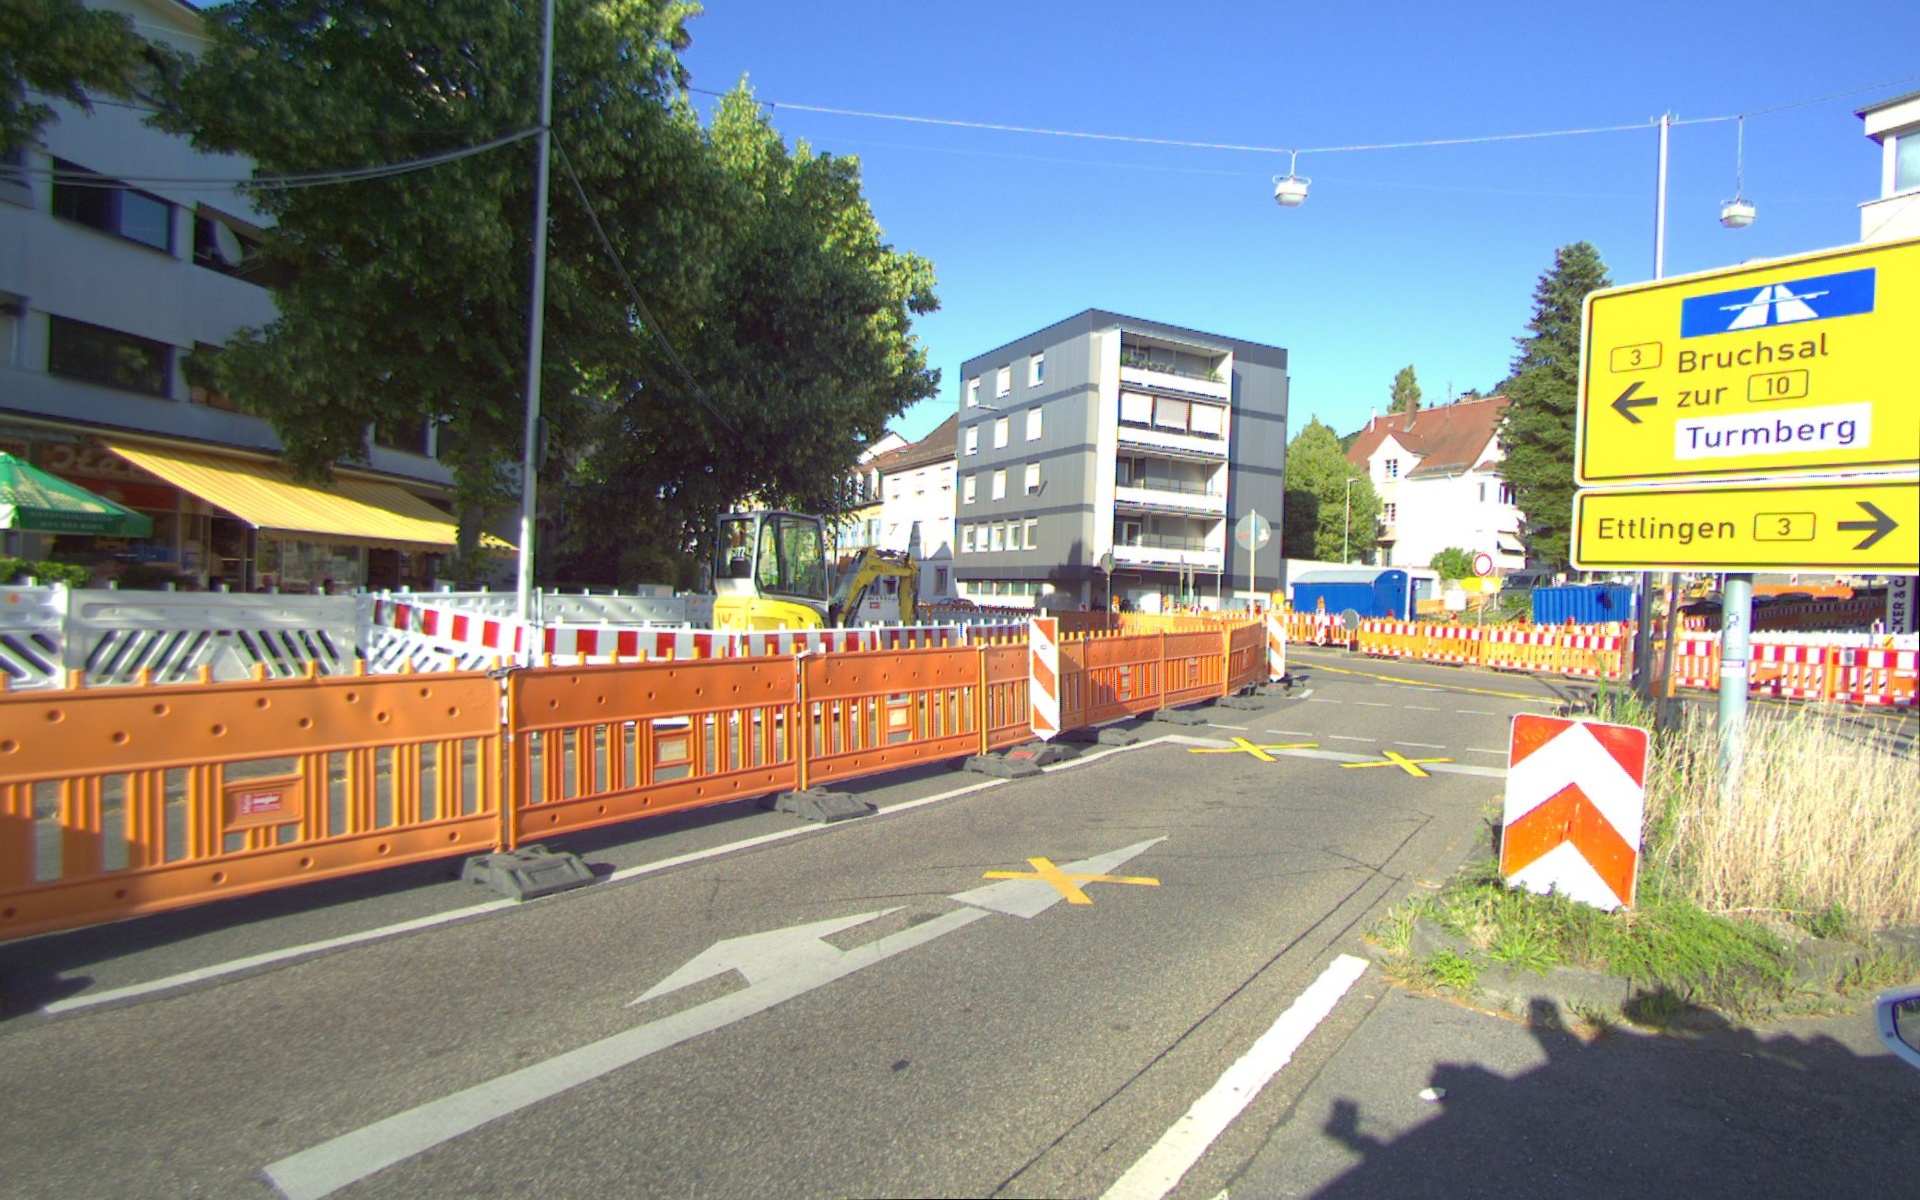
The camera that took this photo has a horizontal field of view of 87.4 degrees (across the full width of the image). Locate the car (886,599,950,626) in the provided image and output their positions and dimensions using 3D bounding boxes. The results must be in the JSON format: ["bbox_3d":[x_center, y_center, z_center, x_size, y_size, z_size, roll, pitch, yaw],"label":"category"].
[{"bbox_3d":[-2.447,0.745,58.452,3.363,1.430,1.505,2,1,-20],"label":"car"}]

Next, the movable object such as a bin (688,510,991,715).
[{"bbox_3d":[-1.498,0.153,13.545,1.629,2.356,3.897,1,0,44],"label":"movable object such as a bin"}]

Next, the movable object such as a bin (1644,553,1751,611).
[{"bbox_3d":[34.515,-0.814,47.011,4.486,2.527,1.944,1,0,-22],"label":"movable object such as a bin"}]

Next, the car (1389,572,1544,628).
[{"bbox_3d":[21.562,0.037,42.779,6.063,2.149,2.578,2,0,-23],"label":"car"}]
